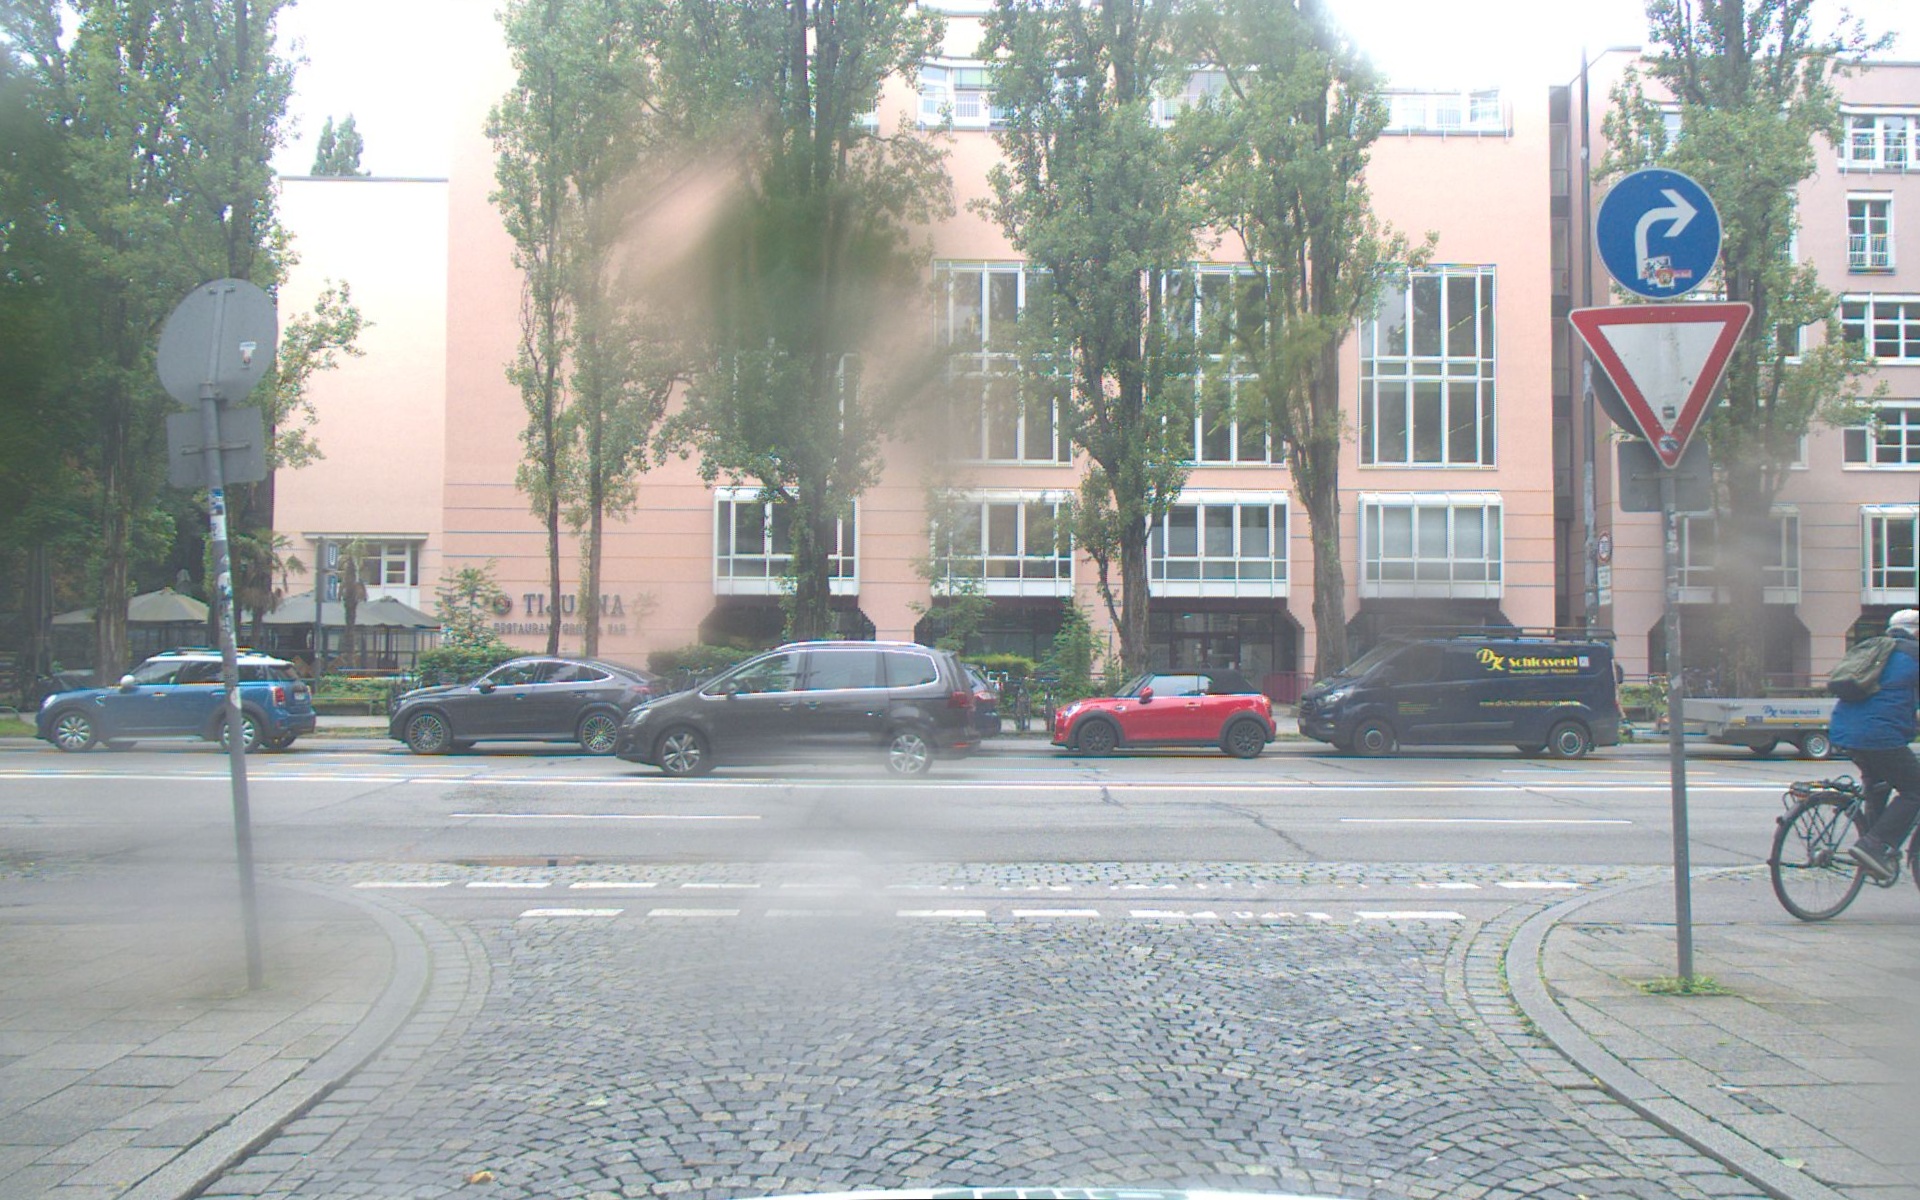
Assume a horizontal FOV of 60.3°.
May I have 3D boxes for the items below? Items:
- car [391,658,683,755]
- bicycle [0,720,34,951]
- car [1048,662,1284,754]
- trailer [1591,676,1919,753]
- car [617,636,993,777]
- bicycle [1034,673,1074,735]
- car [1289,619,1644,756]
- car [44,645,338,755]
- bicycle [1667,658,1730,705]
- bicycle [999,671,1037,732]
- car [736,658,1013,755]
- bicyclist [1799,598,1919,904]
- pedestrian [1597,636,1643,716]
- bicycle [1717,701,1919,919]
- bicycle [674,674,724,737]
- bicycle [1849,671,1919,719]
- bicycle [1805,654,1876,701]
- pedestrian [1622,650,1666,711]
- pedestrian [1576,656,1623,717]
[{"bbox_3d":[-6.995,1.751,27.697,4.408,1.556,1.793,0,-2,-1],"label":"car"},{"bbox_3d":[-4.949,1.132,7.450,0.480,1.112,1.703,0,-2,4],"label":"bicycle"},{"bbox_3d":[3.377,1.788,27.660,3.780,1.474,1.678,0,-2,2],"label":"car"},{"bbox_3d":[14.114,1.914,28.076,5.895,1.220,2.404,0,-2,0],"label":"trailer"},{"bbox_3d":[-1.941,1.392,21.752,4.701,1.752,1.999,0,-3,-1],"label":"car"},{"bbox_3d":[1.818,1.993,32.095,0.660,1.144,1.741,0,-2,0],"label":"bicycle"},{"bbox_3d":[8.449,1.452,27.939,5.367,2.236,2.023,0,-2,-1],"label":"car"},{"bbox_3d":[-12.660,1.655,27.431,3.983,1.762,1.792,0,-3,-3],"label":"car"},{"bbox_3d":[18.620,2.048,41.739,0.660,1.144,1.988,0,-2,0],"label":"bicycle"},{"bbox_3d":[1.111,1.953,32.097,0.660,1.144,1.741,0,-2,0],"label":"bicycle"},{"bbox_3d":[-1.394,1.767,27.868,4.514,1.556,1.793,0,-2,-1],"label":"car"},{"bbox_3d":[5.327,0.824,9.358,0.740,1.648,0.722,0,-2,-10],"label":"bicyclist"},{"bbox_3d":[14.557,1.676,36.488,0.714,1.744,0.709,0,-2,0],"label":"pedestrian"},{"bbox_3d":[5.397,1.186,9.383,1.855,1.168,0.719,1,-5,1],"label":"bicycle"},{"bbox_3d":[-5.055,2.026,32.137,0.660,1.144,1.988,0,-2,0],"label":"bicycle"},{"bbox_3d":[23.159,2.370,41.455,0.660,1.144,1.988,0,-2,0],"label":"bicycle"},{"bbox_3d":[22.165,1.933,41.682,0.660,1.144,2.106,0,-2,0],"label":"bicycle"},{"bbox_3d":[15.782,1.848,38.154,0.714,1.393,0.709,0,-2,0],"label":"pedestrian"},{"bbox_3d":[14.704,1.983,38.028,0.699,1.393,0.724,1,-2,-30],"label":"pedestrian"}]
